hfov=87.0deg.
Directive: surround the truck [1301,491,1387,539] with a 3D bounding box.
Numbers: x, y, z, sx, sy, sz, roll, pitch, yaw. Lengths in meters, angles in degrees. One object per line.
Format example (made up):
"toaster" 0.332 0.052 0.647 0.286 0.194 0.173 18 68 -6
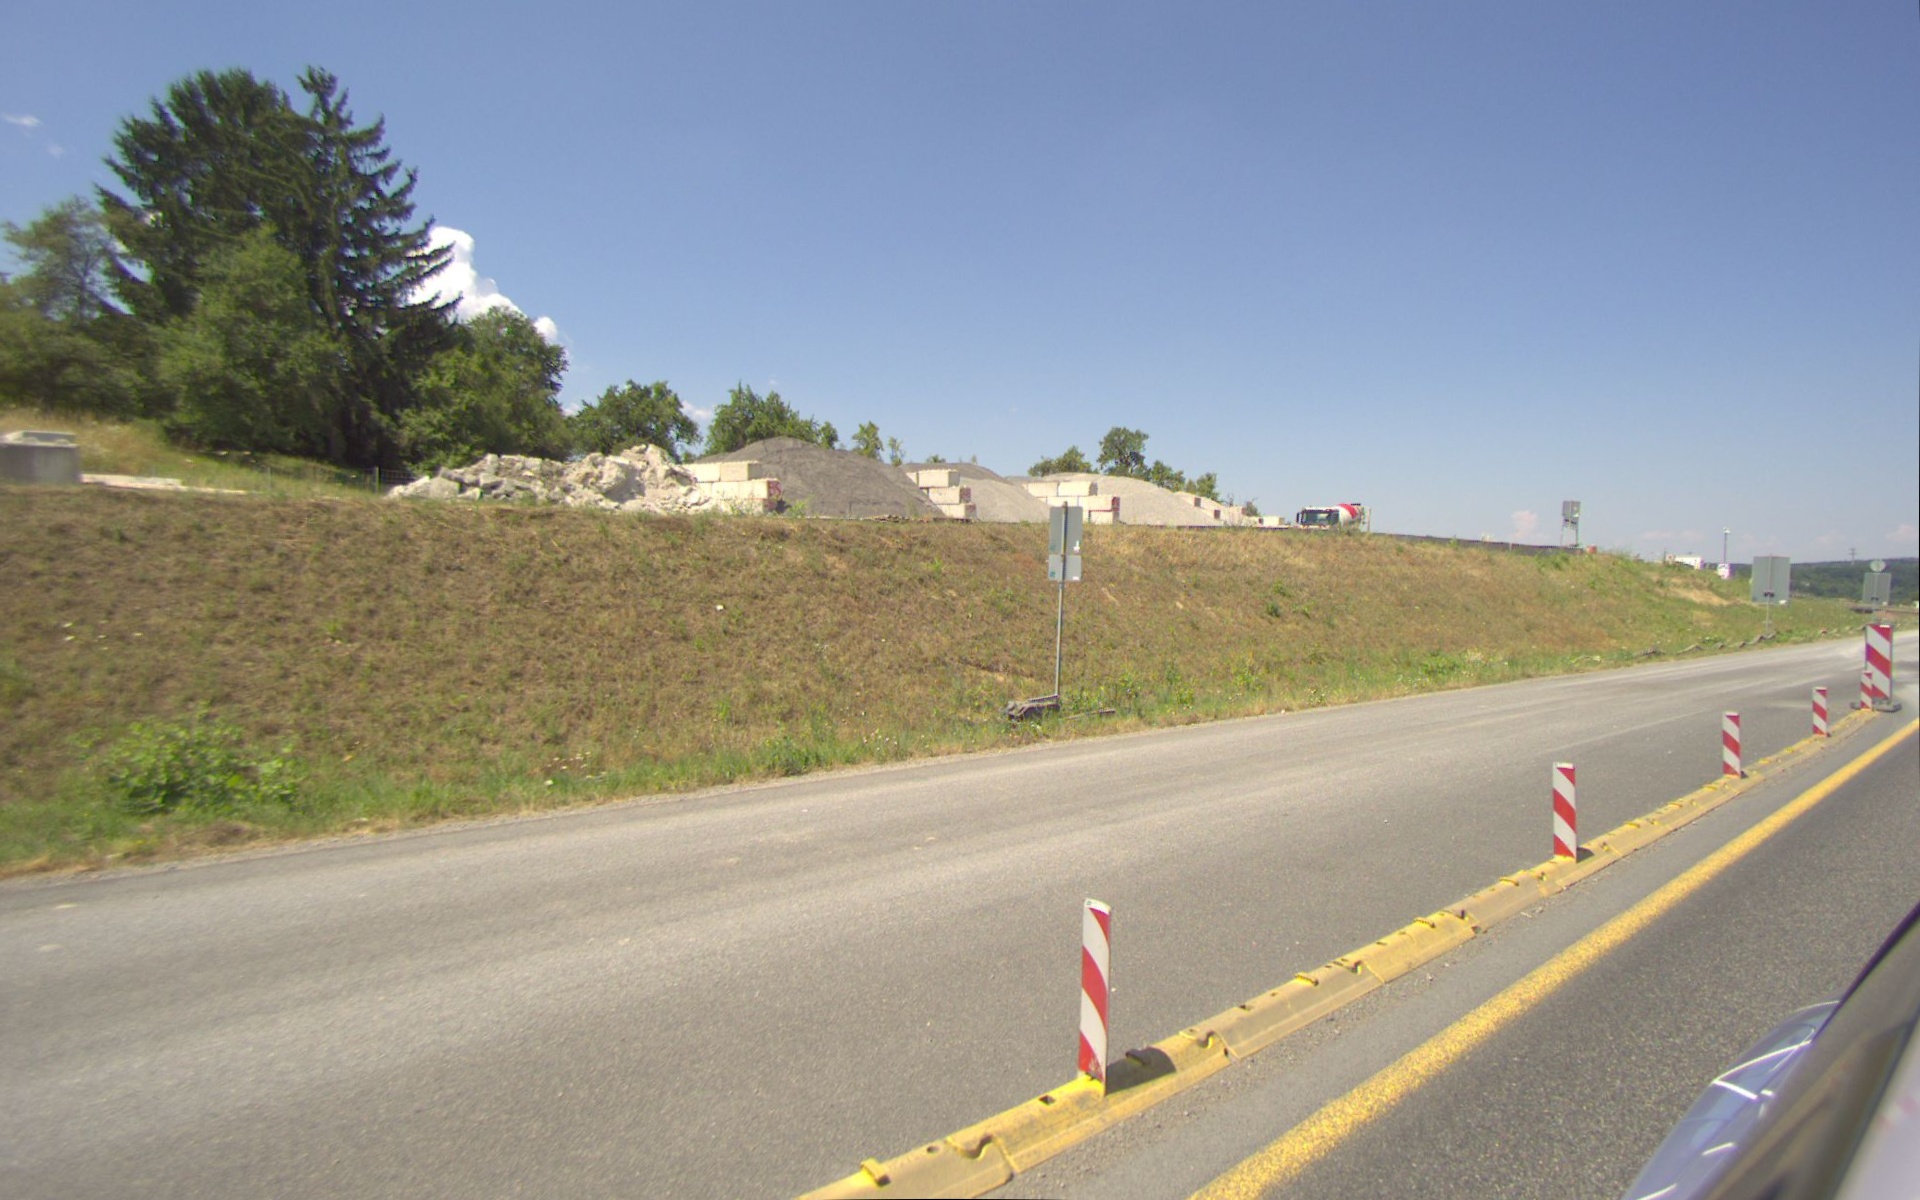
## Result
"truck" 27.589 -5.994 72.502 8.915 2.855 2.218 -1 0 -44
